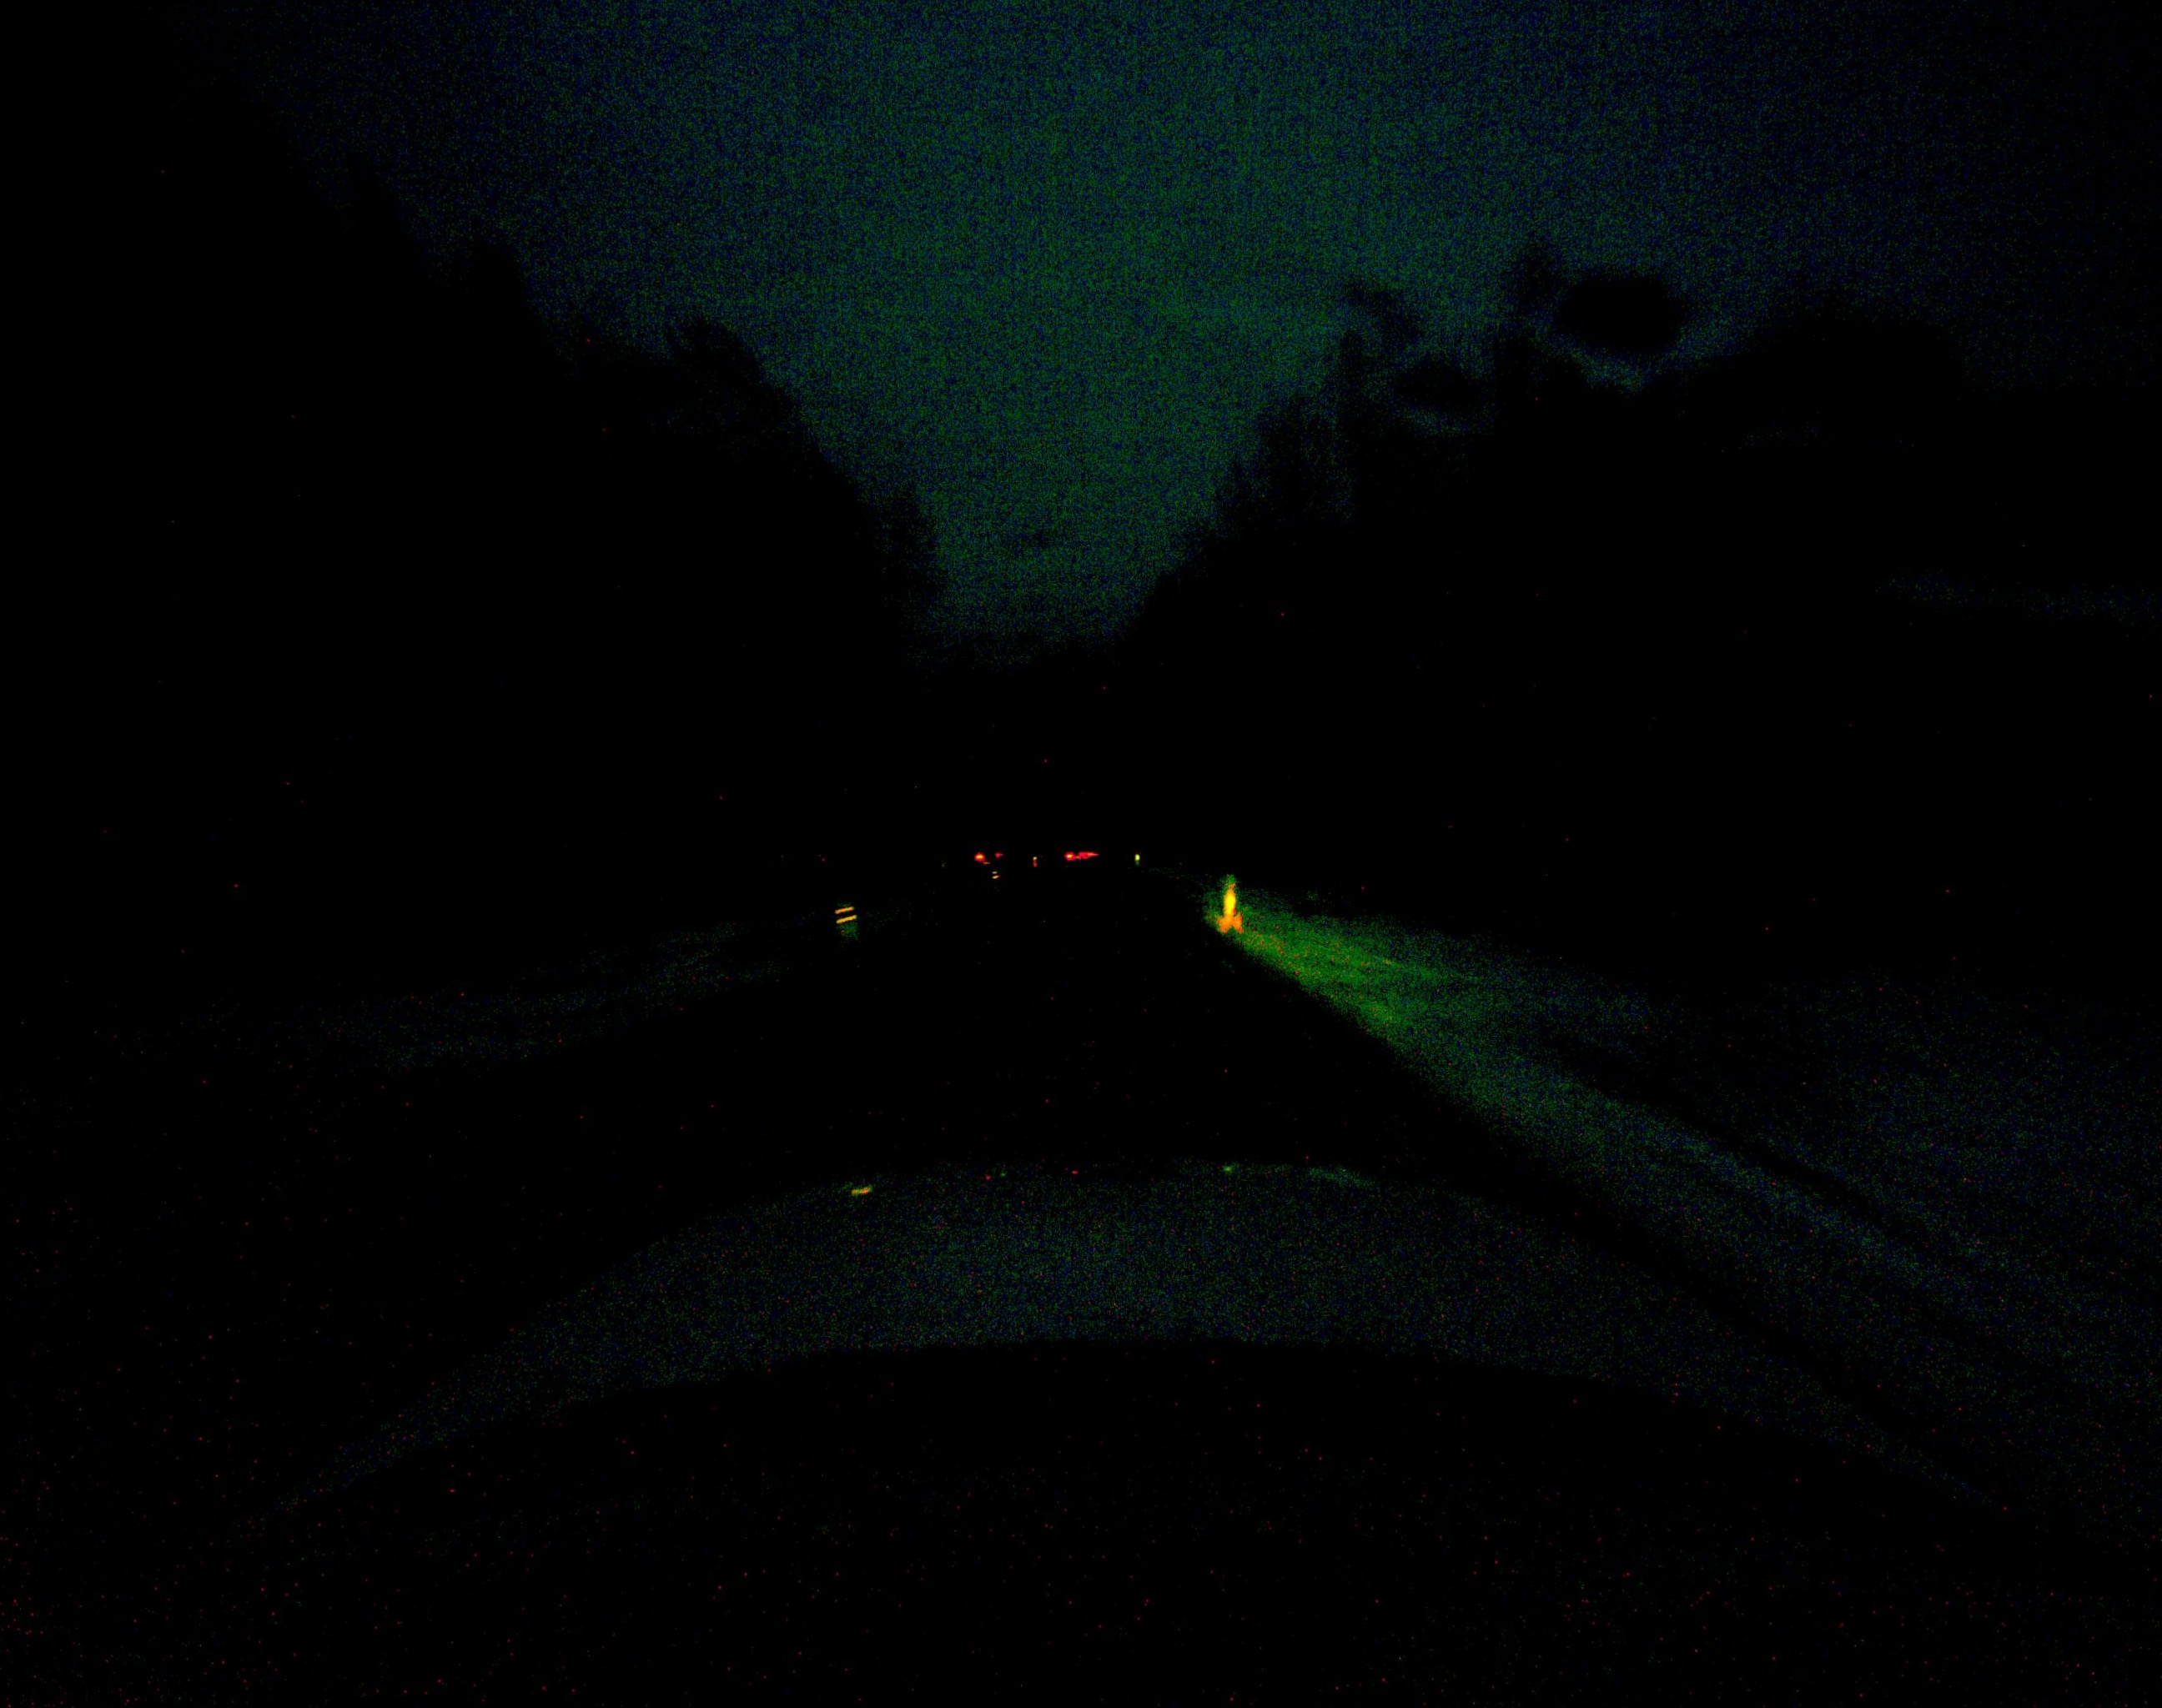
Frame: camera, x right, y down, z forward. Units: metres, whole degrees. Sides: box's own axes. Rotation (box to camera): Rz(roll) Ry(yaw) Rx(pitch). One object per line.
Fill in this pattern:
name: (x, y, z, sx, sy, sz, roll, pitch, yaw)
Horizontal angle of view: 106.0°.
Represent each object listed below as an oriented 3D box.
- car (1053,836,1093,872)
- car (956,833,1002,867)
car: (-0.543, -0.003, 50.804, 1.992, 2.051, 3.990, -3, 0, -7)
car: (-8.650, -0.296, 68.611, 2.264, 2.645, 4.963, -4, 1, -26)
